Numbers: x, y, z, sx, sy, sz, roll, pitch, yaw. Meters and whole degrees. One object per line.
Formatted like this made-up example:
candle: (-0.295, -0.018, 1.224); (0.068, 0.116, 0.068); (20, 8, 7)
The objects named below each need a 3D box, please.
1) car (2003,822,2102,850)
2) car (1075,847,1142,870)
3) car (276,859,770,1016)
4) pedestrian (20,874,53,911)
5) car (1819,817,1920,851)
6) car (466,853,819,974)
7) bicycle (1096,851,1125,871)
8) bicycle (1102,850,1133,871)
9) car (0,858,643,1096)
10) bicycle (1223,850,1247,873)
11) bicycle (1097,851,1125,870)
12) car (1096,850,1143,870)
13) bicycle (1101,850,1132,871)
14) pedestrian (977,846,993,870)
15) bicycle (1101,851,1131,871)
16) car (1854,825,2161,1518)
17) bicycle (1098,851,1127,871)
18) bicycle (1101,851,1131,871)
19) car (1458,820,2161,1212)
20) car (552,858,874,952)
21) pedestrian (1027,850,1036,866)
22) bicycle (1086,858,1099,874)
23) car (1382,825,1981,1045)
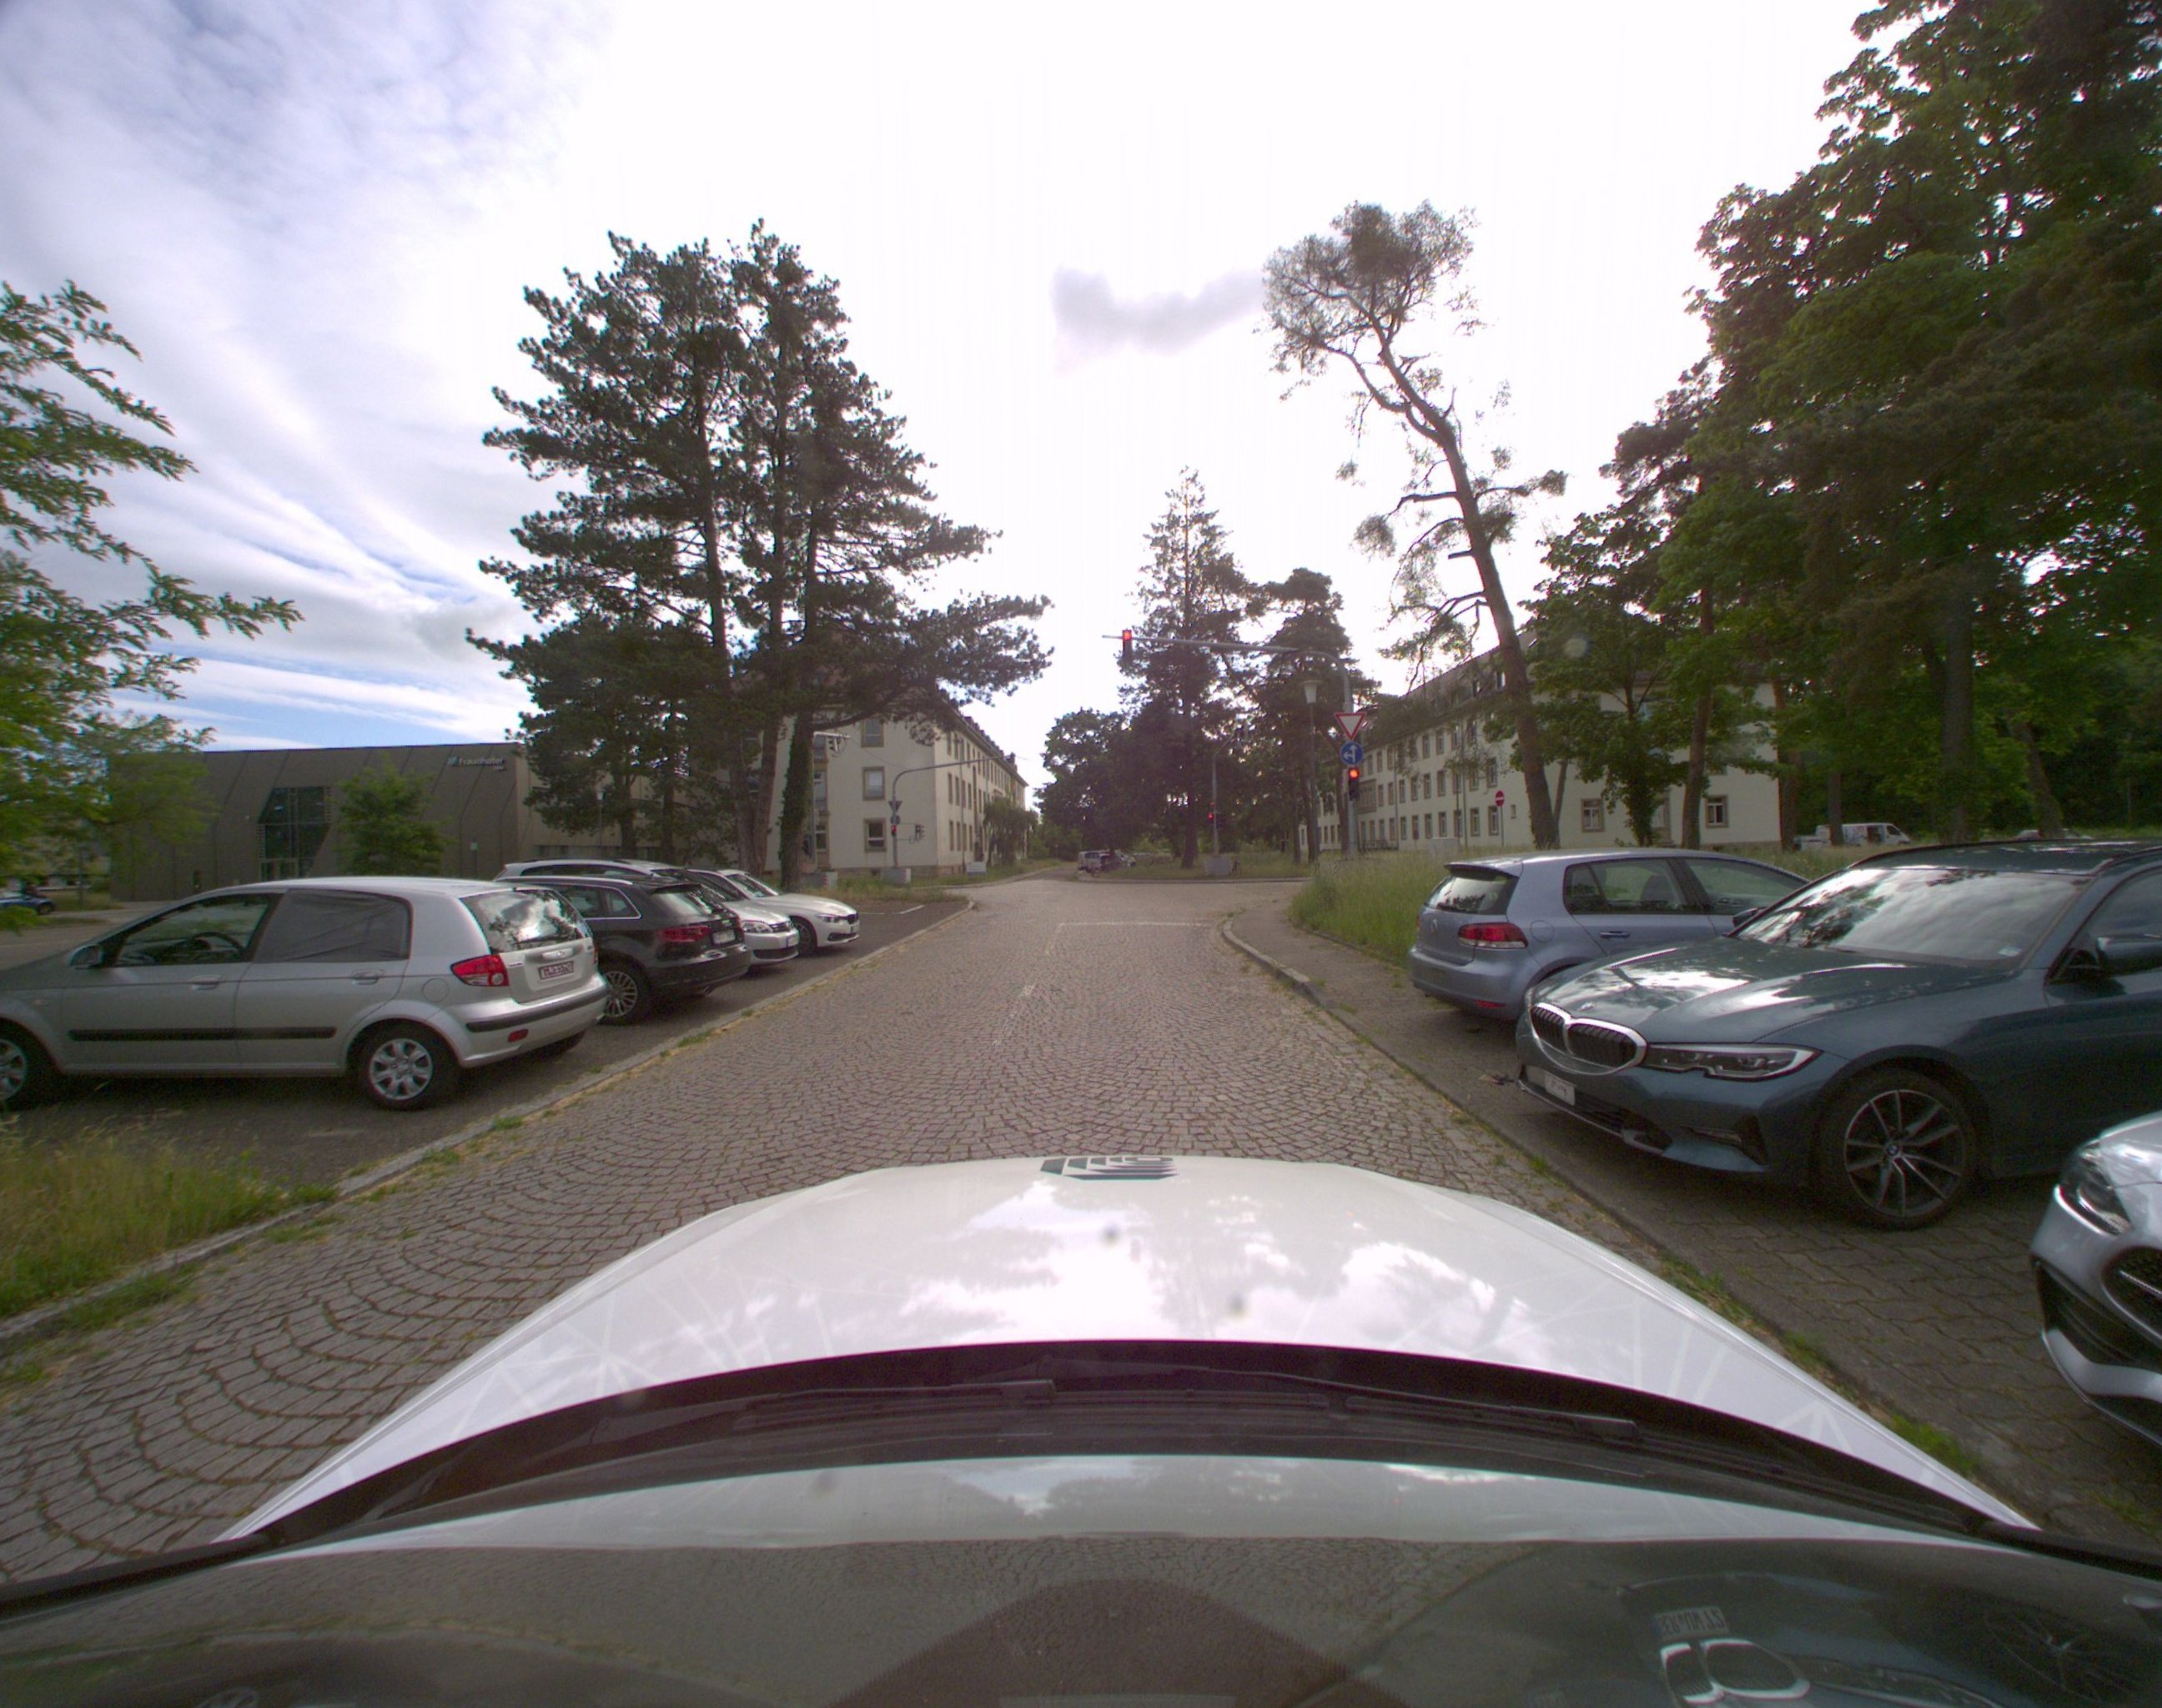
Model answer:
car: (57.971, -1.053, 48.657); (3.468, 1.507, 2.001); (-2, 0, 2)
car: (2.490, 0.392, 73.860); (5.694, 1.910, 2.221); (-2, 0, -11)
car: (-5.652, 0.801, 8.642); (3.974, 1.427, 1.751); (1, 0, 0)
pedestrian: (-58.659, 2.170, 45.726); (0.910, 2.013, 0.906); (-2, 0, 22)
car: (57.498, -1.411, 59.461); (5.160, 2.288, 2.215); (-2, 0, 2)
car: (-5.978, 0.787, 11.496); (3.978, 1.547, 1.722); (1, 0, -4)
bicycle: (2.172, 0.487, 59.597); (2.062, 1.378, 0.620); (-2, 0, 1)
bicycle: (2.495, 0.468, 55.961); (2.062, 1.378, 0.620); (-2, 0, 1)
car: (-5.605, 0.794, 6.046); (3.670, 1.452, 1.806); (1, 0, -4)
bicycle: (8.242, 0.374, 43.584); (0.905, 1.177, 1.874); (-2, 0, 1)
bicycle: (2.206, 0.492, 60.344); (2.062, 1.378, 0.620); (-2, 0, 1)
car: (3.298, 0.517, 70.474); (3.924, 1.544, 1.998); (-2, 0, -4)
bicycle: (2.469, 0.472, 56.632); (2.062, 1.378, 0.620); (-2, 0, 1)
pedestrian: (-8.453, 0.363, 71.661); (1.081, 2.013, 1.023); (-2, 0, 6)
bicycle: (2.510, 0.480, 58.054); (2.062, 1.378, 0.620); (-2, 0, 1)
car: (4.659, 0.613, 1.478); (4.740, 1.482, 1.813); (-2, 0, 1)
bicycle: (2.304, 0.482, 58.856); (2.062, 1.378, 0.620); (-2, 0, 1)
bicycle: (2.481, 0.475, 57.257); (2.062, 1.378, 0.620); (-2, 0, 1)
car: (4.714, 0.596, 4.188); (4.744, 1.482, 1.760); (-2, 0, -2)
car: (-6.099, 0.827, 13.951); (4.636, 1.443, 1.800); (1, 0, -3)
pedestrian: (-6.285, 0.490, 103.373); (0.952, 2.013, 0.797); (-2, 0, 11)
bicycle: (0.766, 0.790, 54.192); (0.614, 0.963, 2.081); (-2, 0, 8)
car: (4.683, 0.586, 6.752); (3.750, 1.426, 1.606); (-3, 0, 0)
